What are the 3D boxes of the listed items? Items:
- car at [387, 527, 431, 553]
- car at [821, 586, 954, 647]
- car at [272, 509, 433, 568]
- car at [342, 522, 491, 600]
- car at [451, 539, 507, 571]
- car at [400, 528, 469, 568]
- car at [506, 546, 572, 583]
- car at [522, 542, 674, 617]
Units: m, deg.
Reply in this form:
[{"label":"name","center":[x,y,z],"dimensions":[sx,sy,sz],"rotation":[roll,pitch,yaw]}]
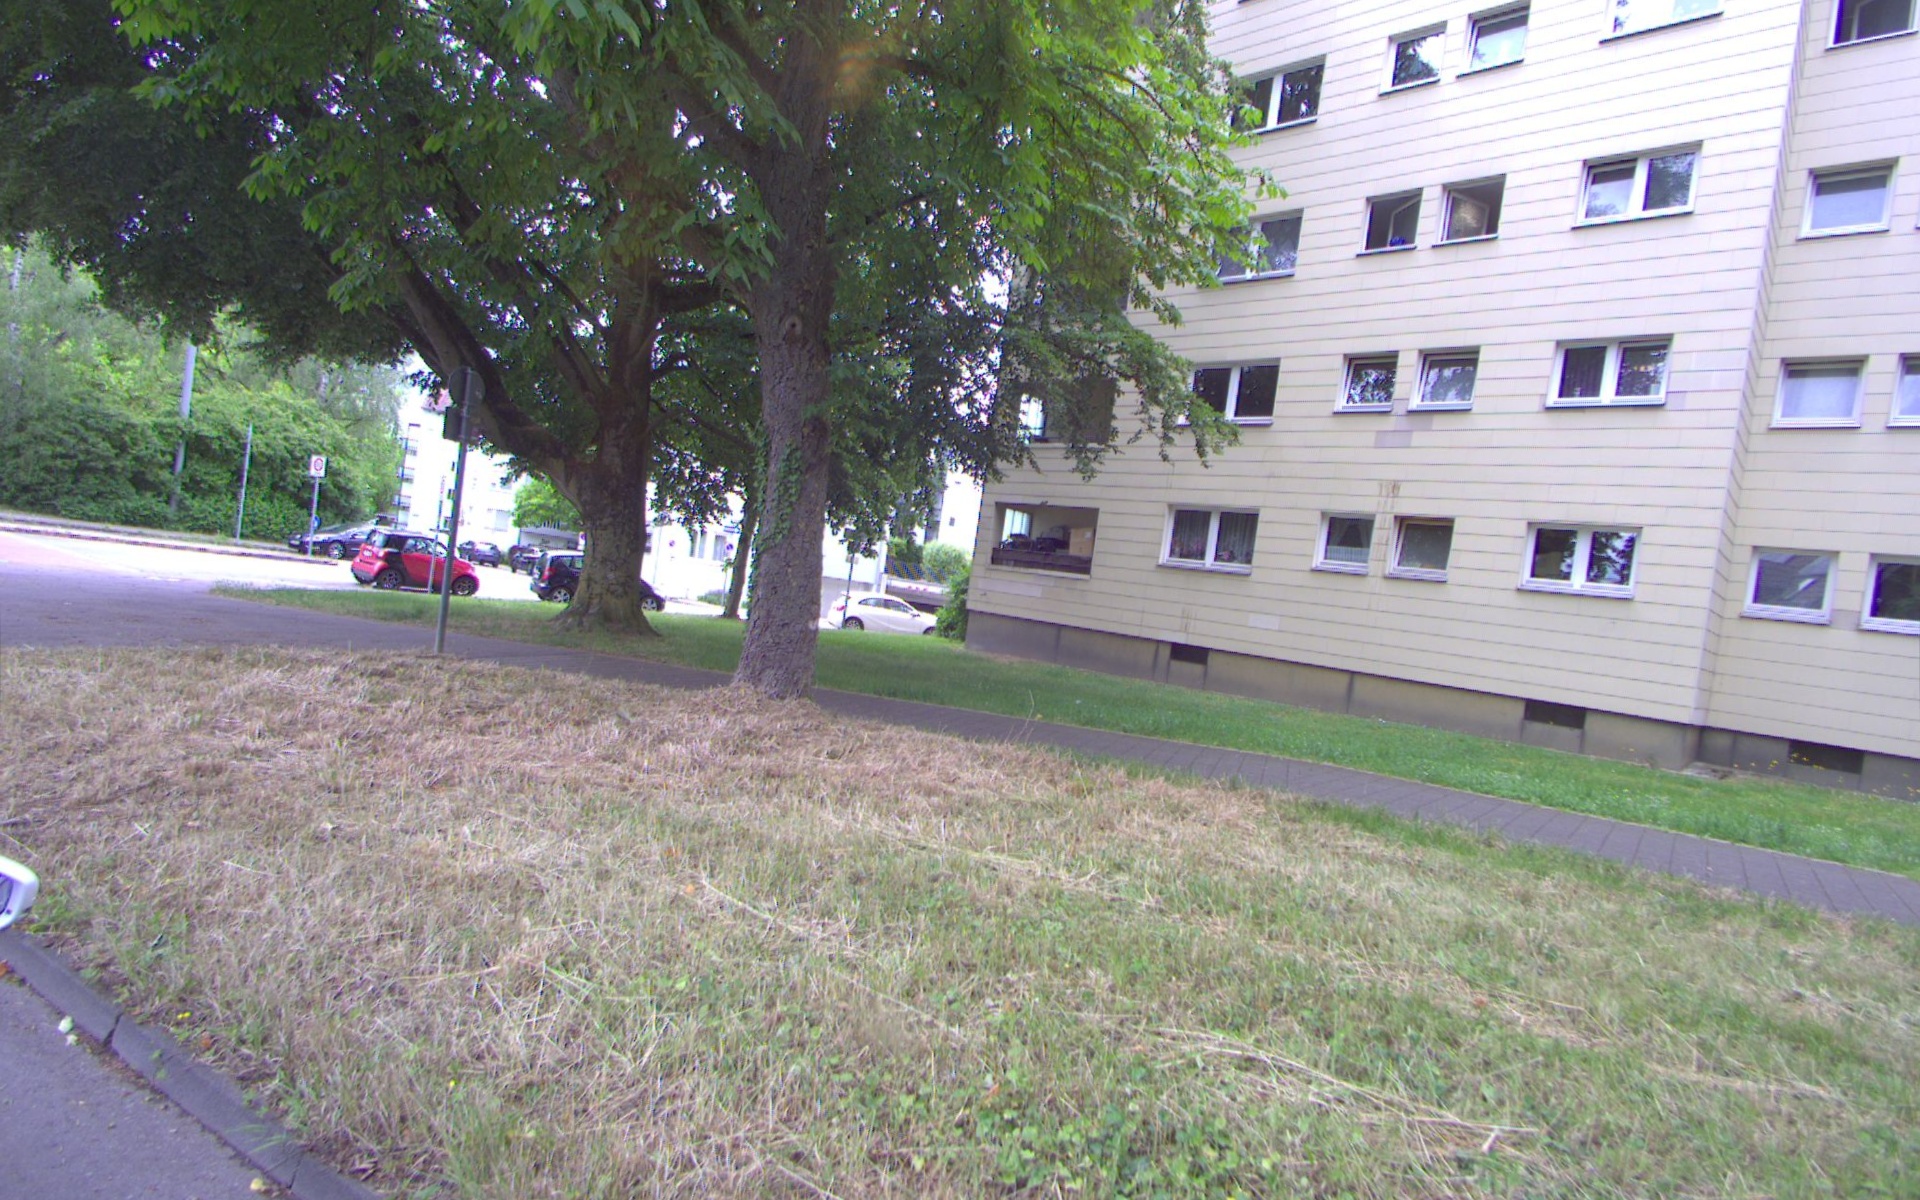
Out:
[{"label":"car","center":[-40.928,-4.456,74.714],"dimensions":[1.922,1.563,4.016],"rotation":[8,-1,-42]},{"label":"car","center":[-2.413,0.545,33.158],"dimensions":[4.008,1.452,1.789],"rotation":[7,1,-15]},{"label":"car","center":[-22.783,-2.261,37.953],"dimensions":[2.002,1.456,4.797],"rotation":[8,0,25]},{"label":"car","center":[-14.280,-0.994,26.526],"dimensions":[1.669,1.524,2.913],"rotation":[9,0,36]},{"label":"car","center":[-29.612,-2.778,61.893],"dimensions":[1.922,1.563,4.016],"rotation":[8,-1,-42]},{"label":"car","center":[-24.467,-2.426,46.768],"dimensions":[1.797,1.505,3.624],"rotation":[8,-1,-43]},{"label":"car","center":[-22.687,-1.936,54.146],"dimensions":[1.922,1.563,4.016],"rotation":[8,-1,-42]},{"label":"car","center":[-10.674,-0.601,29.749],"dimensions":[3.791,1.610,1.802],"rotation":[9,-1,-34]}]
